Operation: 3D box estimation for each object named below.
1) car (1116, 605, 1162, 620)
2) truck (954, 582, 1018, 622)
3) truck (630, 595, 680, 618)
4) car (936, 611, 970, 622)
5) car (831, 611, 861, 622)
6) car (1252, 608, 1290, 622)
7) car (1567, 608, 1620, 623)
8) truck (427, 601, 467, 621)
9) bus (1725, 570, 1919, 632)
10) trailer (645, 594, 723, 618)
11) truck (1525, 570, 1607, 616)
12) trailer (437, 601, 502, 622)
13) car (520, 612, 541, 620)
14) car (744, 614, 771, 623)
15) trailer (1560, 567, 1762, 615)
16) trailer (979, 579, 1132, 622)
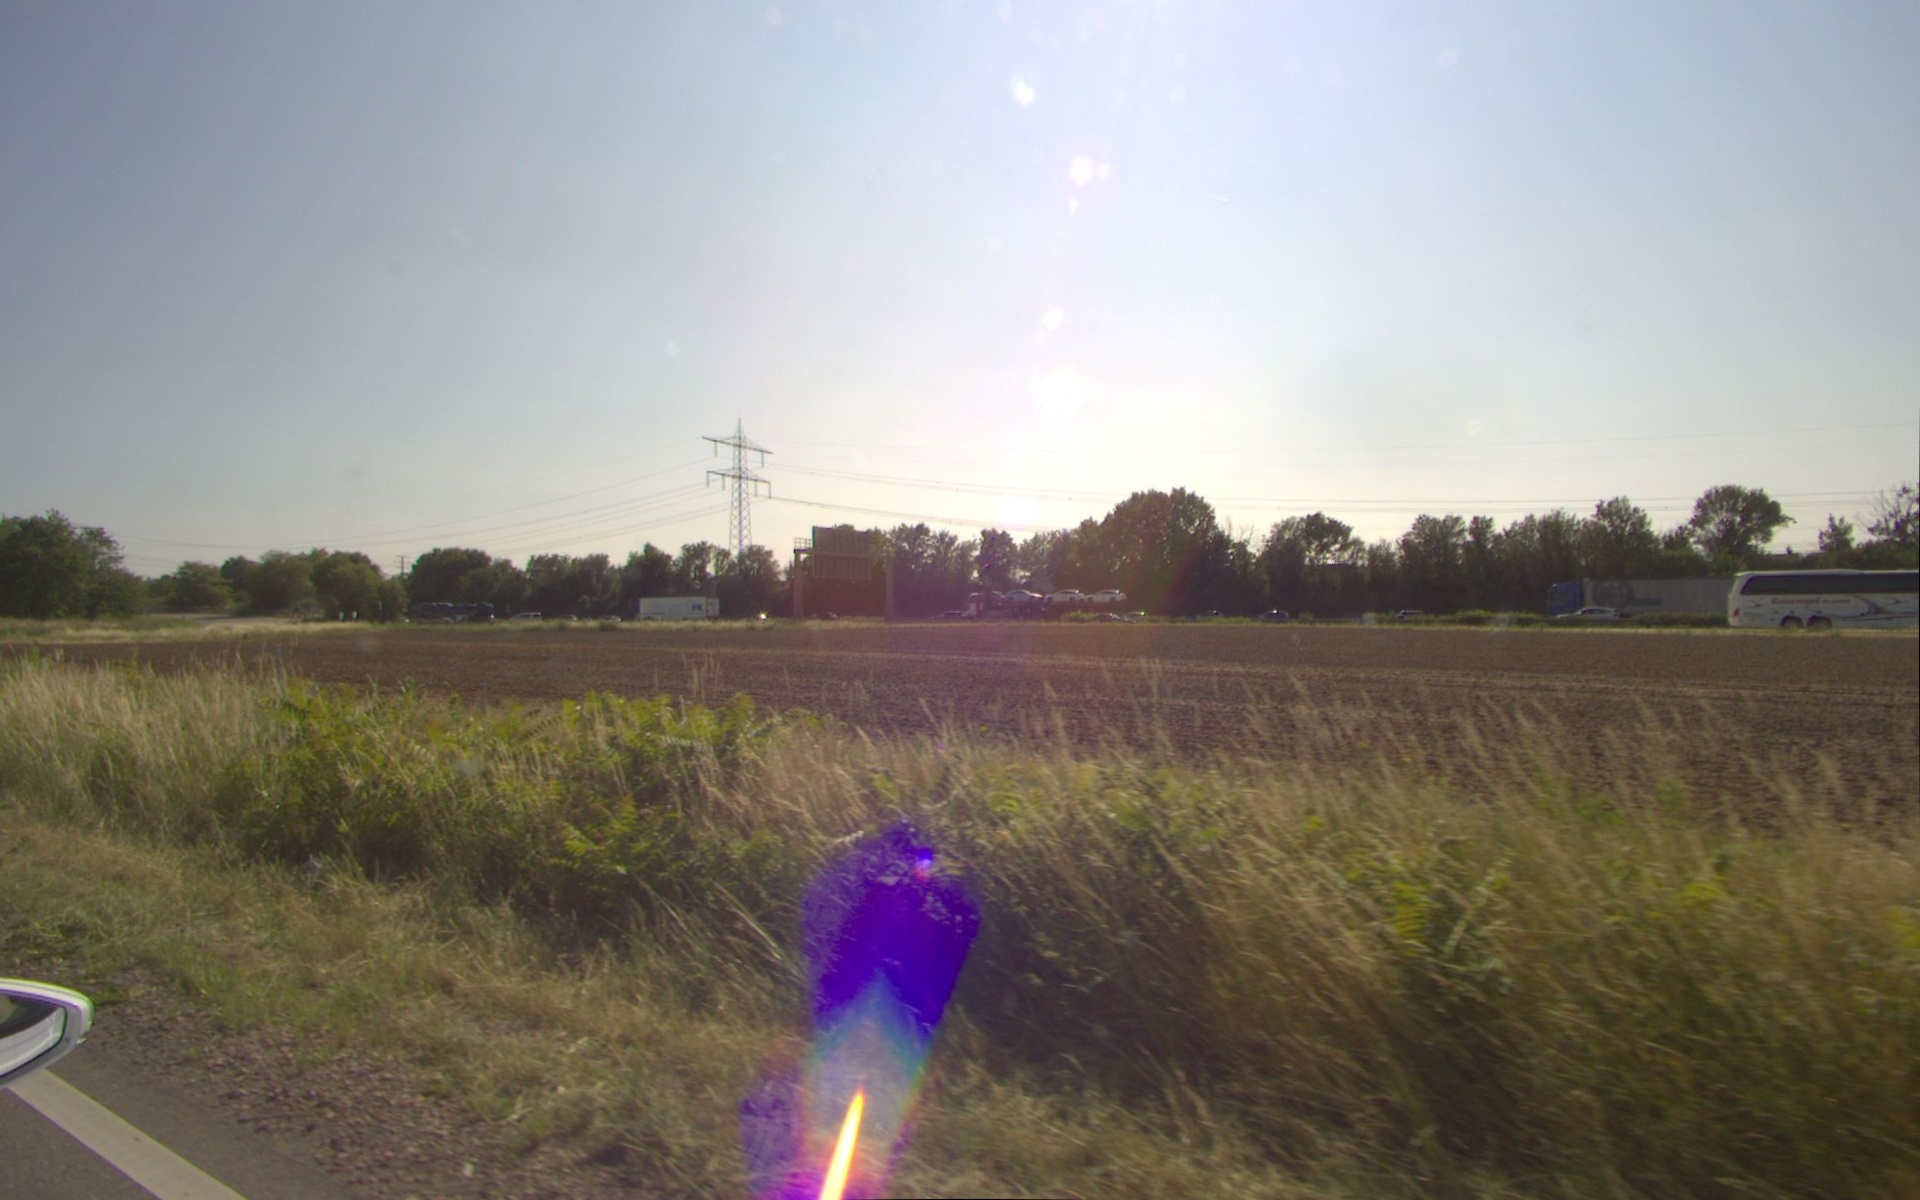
[{"bbox_3d":[17.853,1.277,99.948,4.186,1.403,1.848,0,-1,32],"label":"car"},{"bbox_3d":[3.036,0.231,116.540,6.606,4.512,3.416,-1,0,30],"label":"truck"},{"bbox_3d":[-44.688,1.006,146.554,6.877,3.310,3.278,-1,0,31],"label":"truck"},{"bbox_3d":[-0.741,1.857,110.933,3.528,1.166,1.393,0,-1,30],"label":"car"},{"bbox_3d":[-13.608,1.974,119.555,3.528,1.166,1.393,0,-1,30],"label":"car"},{"bbox_3d":[28.693,1.389,92.351,3.135,1.166,1.392,0,-1,32],"label":"car"},{"bbox_3d":[50.124,1.206,79.303,3.530,1.166,1.392,0,-1,33],"label":"car"},{"bbox_3d":[-88.021,1.904,171.768,6.334,3.310,3.279,0,0,31],"label":"truck"},{"bbox_3d":[58.001,0.081,63.889,14.329,3.854,2.459,0,0,30],"label":"bus"},{"bbox_3d":[-39.645,0.936,143.484,12.274,3.310,3.278,-1,0,31],"label":"trailer"},{"bbox_3d":[52.234,-0.553,86.352,6.002,3.782,3.065,0,0,34],"label":"truck"},{"bbox_3d":[-82.622,1.904,168.483,13.254,3.310,3.279,0,0,31],"label":"trailer"},{"bbox_3d":[-64.118,2.355,149.445,3.135,1.166,1.392,0,-1,32],"label":"car"},{"bbox_3d":[-27.178,2.479,134.491,3.528,1.166,1.393,0,-1,30],"label":"car"},{"bbox_3d":[57.518,-0.618,82.828,13.440,3.782,3.065,-1,-1,34],"label":"trailer"},{"bbox_3d":[10.495,0.126,112.168,17.303,4.512,3.416,-1,0,30],"label":"trailer"}]
